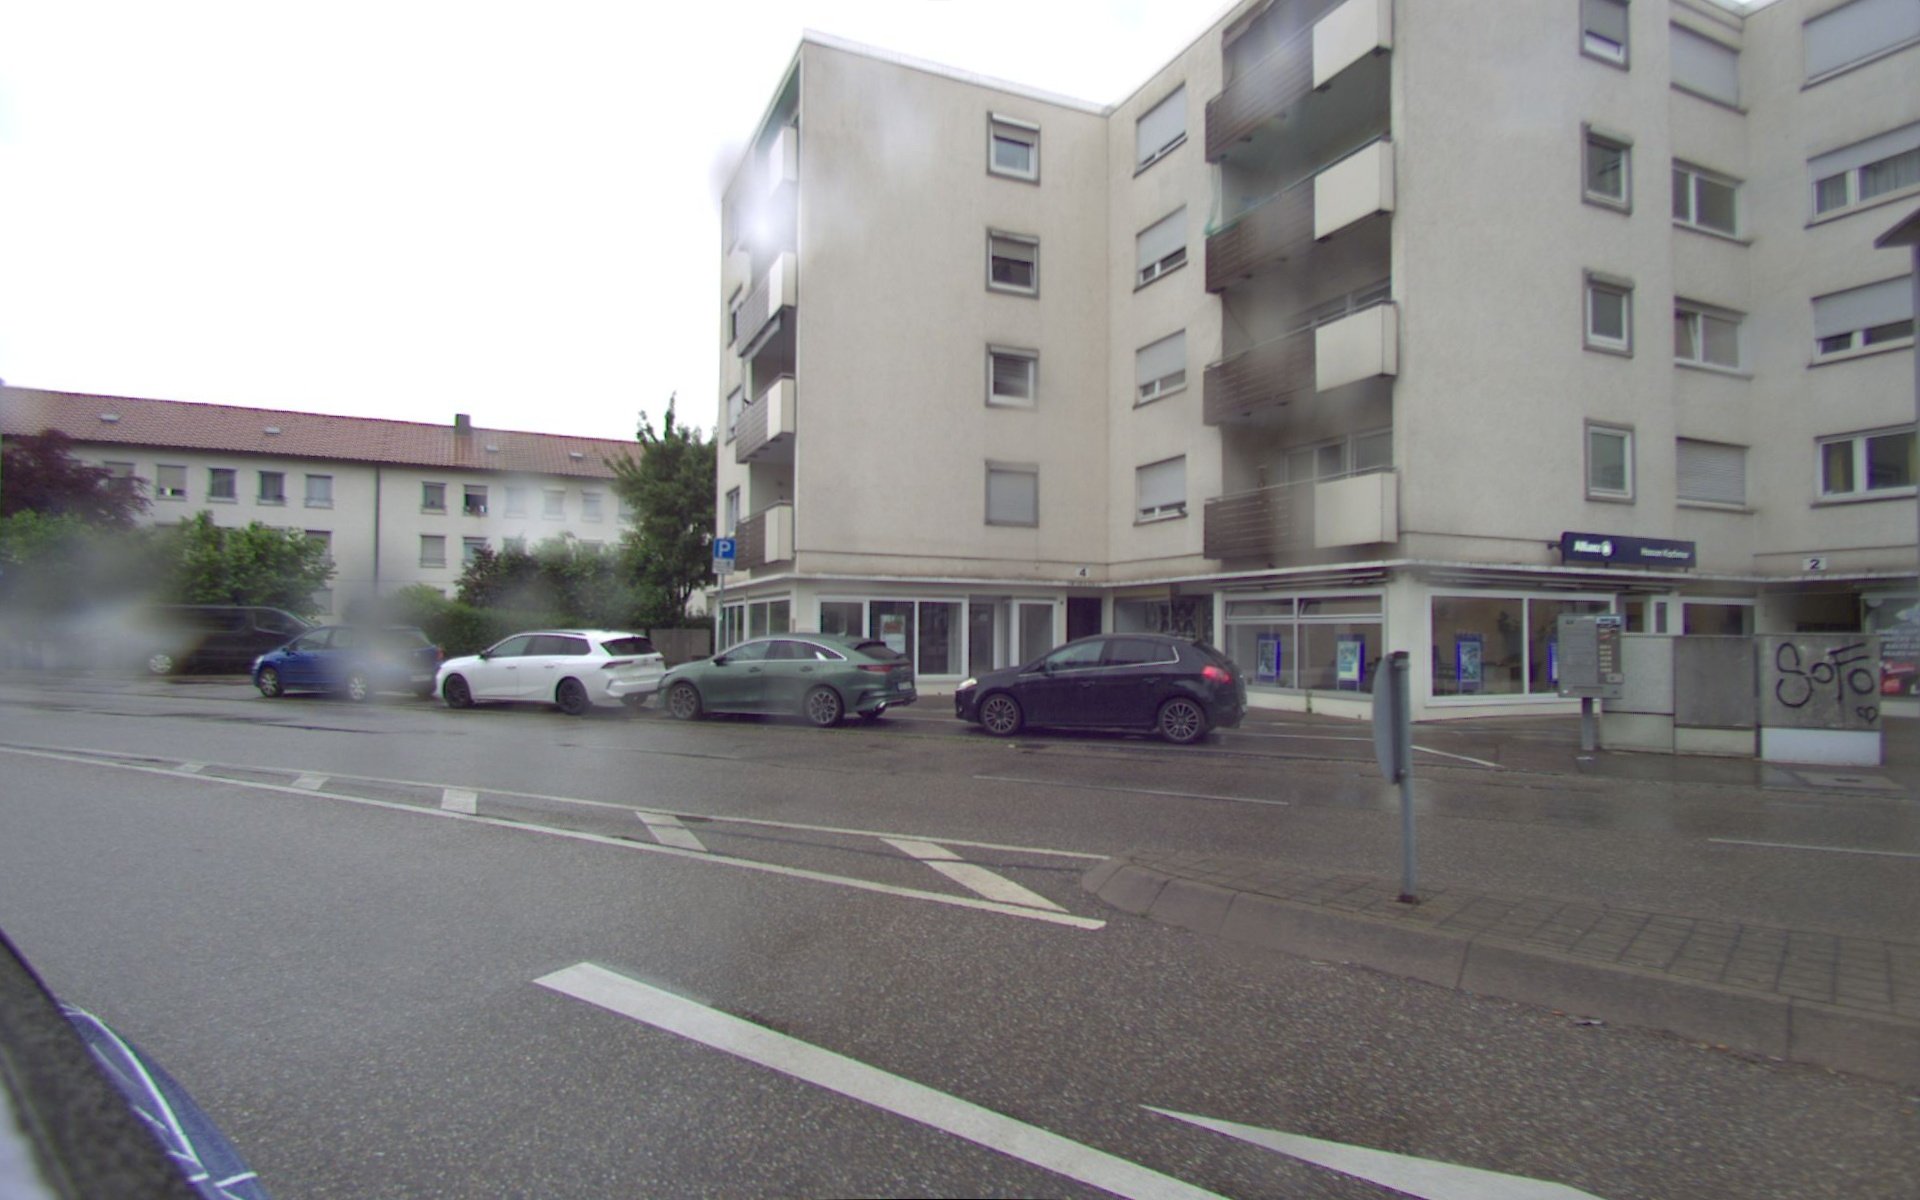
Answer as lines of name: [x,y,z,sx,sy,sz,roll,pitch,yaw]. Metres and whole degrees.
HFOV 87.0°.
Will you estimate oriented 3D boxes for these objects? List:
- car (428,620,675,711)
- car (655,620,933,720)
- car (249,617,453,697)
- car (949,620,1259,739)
car: [-7.545,1.135,18.676,4.316,1.511,1.626,0,-2,22]
car: [-2.732,1.080,16.718,4.244,1.445,1.824,0,0,21]
car: [-12.583,1.133,20.911,3.855,1.517,1.622,0,-2,22]
car: [2.091,1.053,14.646,4.159,1.471,1.824,0,0,22]
